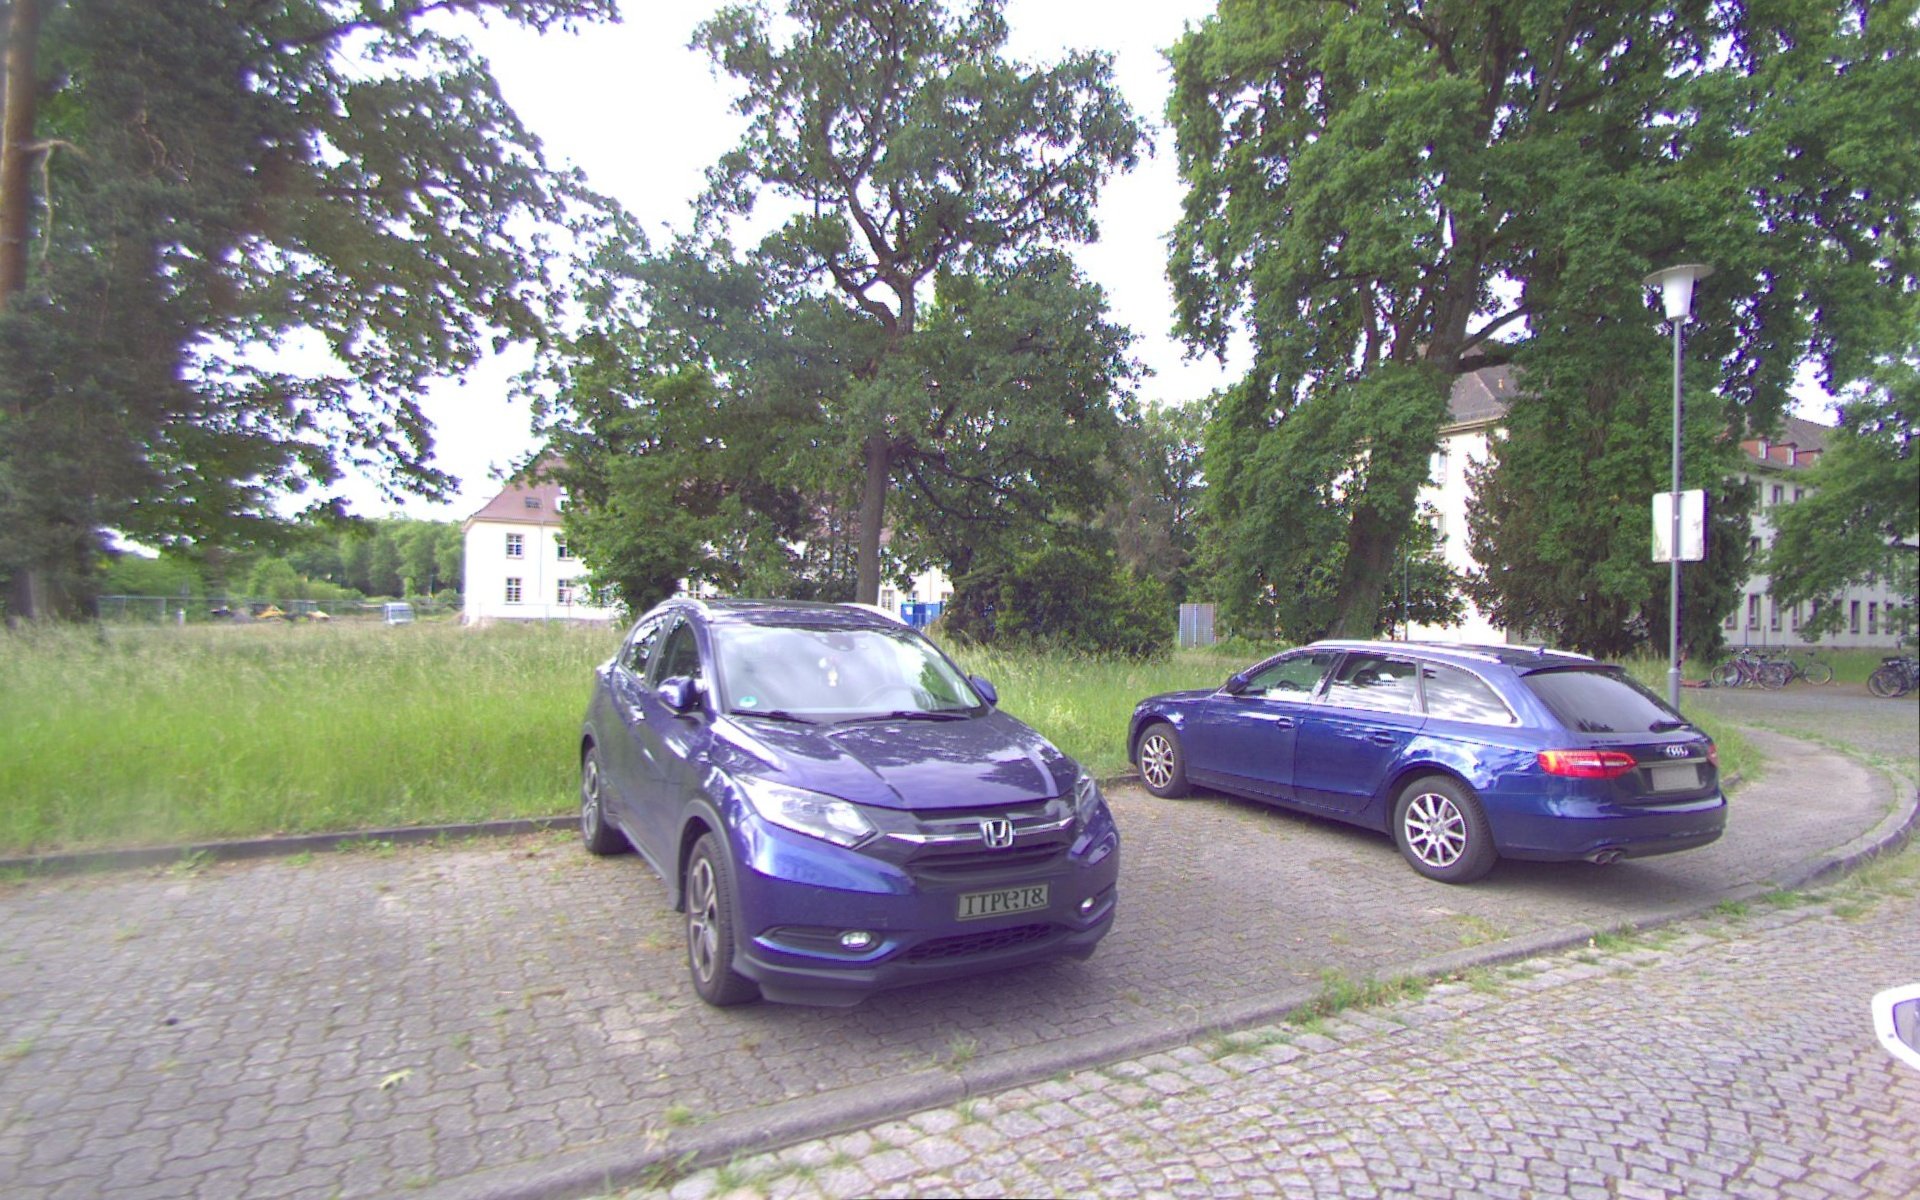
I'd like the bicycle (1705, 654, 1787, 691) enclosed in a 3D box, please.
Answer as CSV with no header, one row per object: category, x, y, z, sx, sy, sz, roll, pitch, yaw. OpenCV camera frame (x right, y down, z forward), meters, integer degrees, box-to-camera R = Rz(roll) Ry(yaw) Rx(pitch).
bicycle,23.727,2.184,30.348,1.934,1.002,0.624,0,-1,39

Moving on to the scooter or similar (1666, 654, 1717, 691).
scooter or similar,22.167,2.190,30.460,0.445,1.052,1.352,1,-1,-8

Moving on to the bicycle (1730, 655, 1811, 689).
bicycle,26.074,2.307,32.351,0.622,1.002,1.942,2,-2,-39

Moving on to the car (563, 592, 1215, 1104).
car,-0.822,0.788,5.461,1.865,1.598,4.207,1,0,-30

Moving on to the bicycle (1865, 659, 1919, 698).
bicycle,26.176,2.157,27.564,1.933,1.002,0.624,0,-1,39

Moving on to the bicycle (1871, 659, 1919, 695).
bicycle,27.798,2.249,29.189,1.933,1.002,0.624,0,-1,39

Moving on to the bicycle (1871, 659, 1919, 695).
bicycle,28.211,2.273,29.633,1.933,1.002,0.624,0,-1,39

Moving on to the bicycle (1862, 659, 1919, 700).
bicycle,25.015,2.091,26.400,1.935,1.002,0.624,0,-2,41

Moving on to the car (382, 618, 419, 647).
car,-46.019,2.627,82.578,1.981,2.229,4.986,2,-1,-36

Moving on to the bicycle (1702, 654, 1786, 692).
bicycle,23.370,2.164,29.992,1.931,1.002,0.625,0,-1,35

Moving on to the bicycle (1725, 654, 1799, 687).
bicycle,27.596,2.414,34.588,1.937,1.002,0.623,0,-2,45

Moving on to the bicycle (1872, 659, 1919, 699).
bicycle,25.562,2.114,26.685,1.933,1.002,0.624,0,-1,39

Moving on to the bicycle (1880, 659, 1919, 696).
bicycle,27.389,2.215,28.439,1.933,1.002,0.624,0,-1,39

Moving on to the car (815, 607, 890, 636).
car,-7.929,1.601,74.092,5.163,2.040,1.986,2,-2,-27

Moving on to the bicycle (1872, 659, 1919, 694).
bicycle,29.013,2.320,30.486,1.933,1.002,0.624,0,-1,39

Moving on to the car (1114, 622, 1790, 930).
car,3.242,0.985,7.609,1.950,1.480,4.286,1,0,-27

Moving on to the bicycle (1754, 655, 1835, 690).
bicycle,27.071,2.339,32.600,0.622,1.002,1.942,2,-2,-39

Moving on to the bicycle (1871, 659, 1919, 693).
bicycle,29.406,2.344,30.941,1.933,1.002,0.624,0,-1,39

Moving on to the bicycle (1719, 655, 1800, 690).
bicycle,25.031,2.253,31.482,1.931,1.002,0.625,0,-1,35

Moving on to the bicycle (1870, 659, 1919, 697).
bicycle,26.665,2.181,27.959,1.933,1.002,0.624,0,-1,39
